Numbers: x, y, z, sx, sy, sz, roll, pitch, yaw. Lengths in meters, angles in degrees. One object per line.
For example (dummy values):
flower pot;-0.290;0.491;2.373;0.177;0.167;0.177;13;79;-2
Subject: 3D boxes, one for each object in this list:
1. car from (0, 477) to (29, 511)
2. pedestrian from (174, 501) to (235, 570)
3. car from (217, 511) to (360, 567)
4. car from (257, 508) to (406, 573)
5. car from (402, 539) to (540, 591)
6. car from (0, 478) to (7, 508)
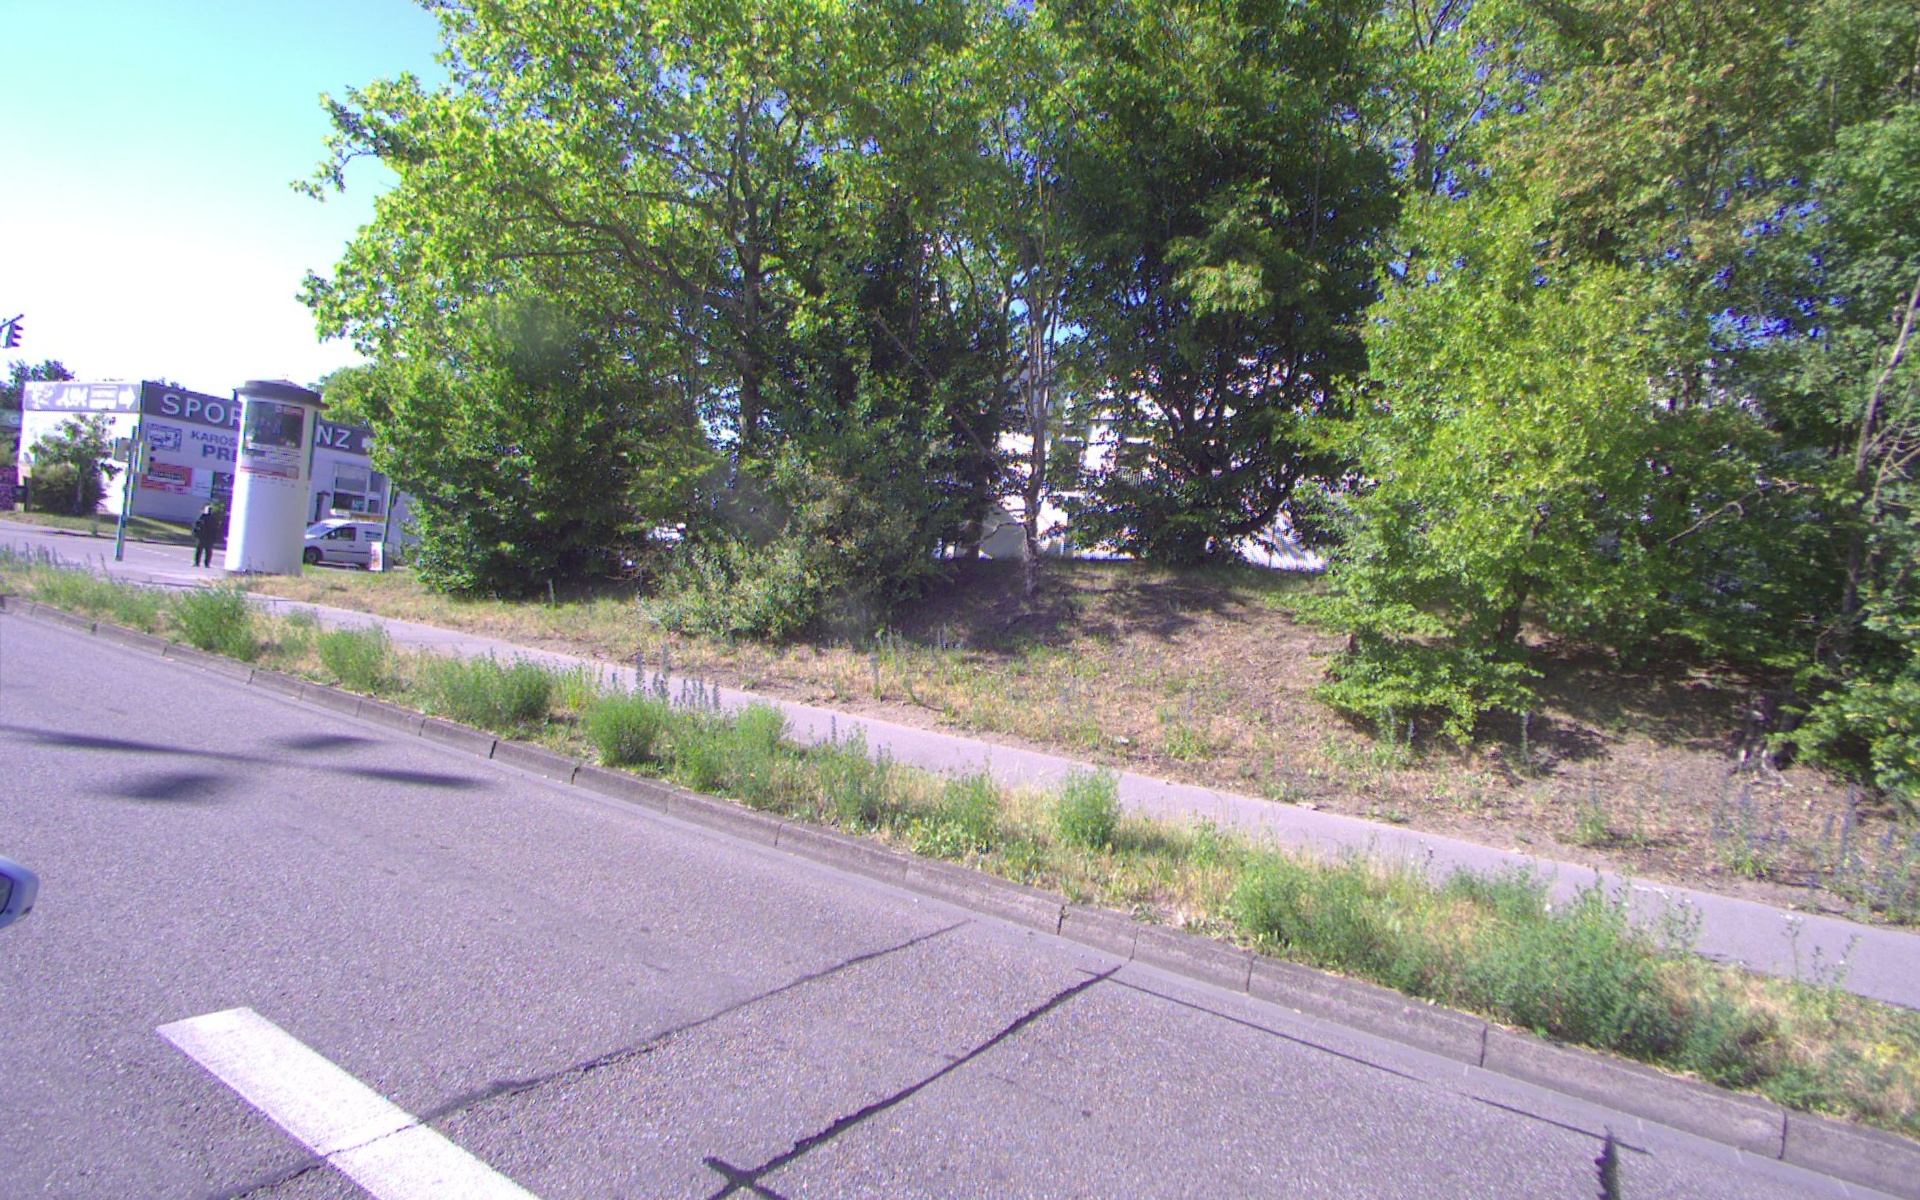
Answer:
car;-46.875;-5.222;47.099;1.828;1.472;4.490;7;1;33
pedestrian;-21.053;-1.799;28.041;0.923;1.755;0.927;6;-1;31
car;-26.607;-2.377;40.018;1.735;1.568;4.292;9;1;30
car;-23.820;-2.211;38.287;1.735;1.824;4.387;9;1;30
car;-18.654;-1.311;38.562;1.736;1.509;4.412;7;1;33
car;-49.227;-5.489;48.469;1.828;1.472;4.490;7;1;33
